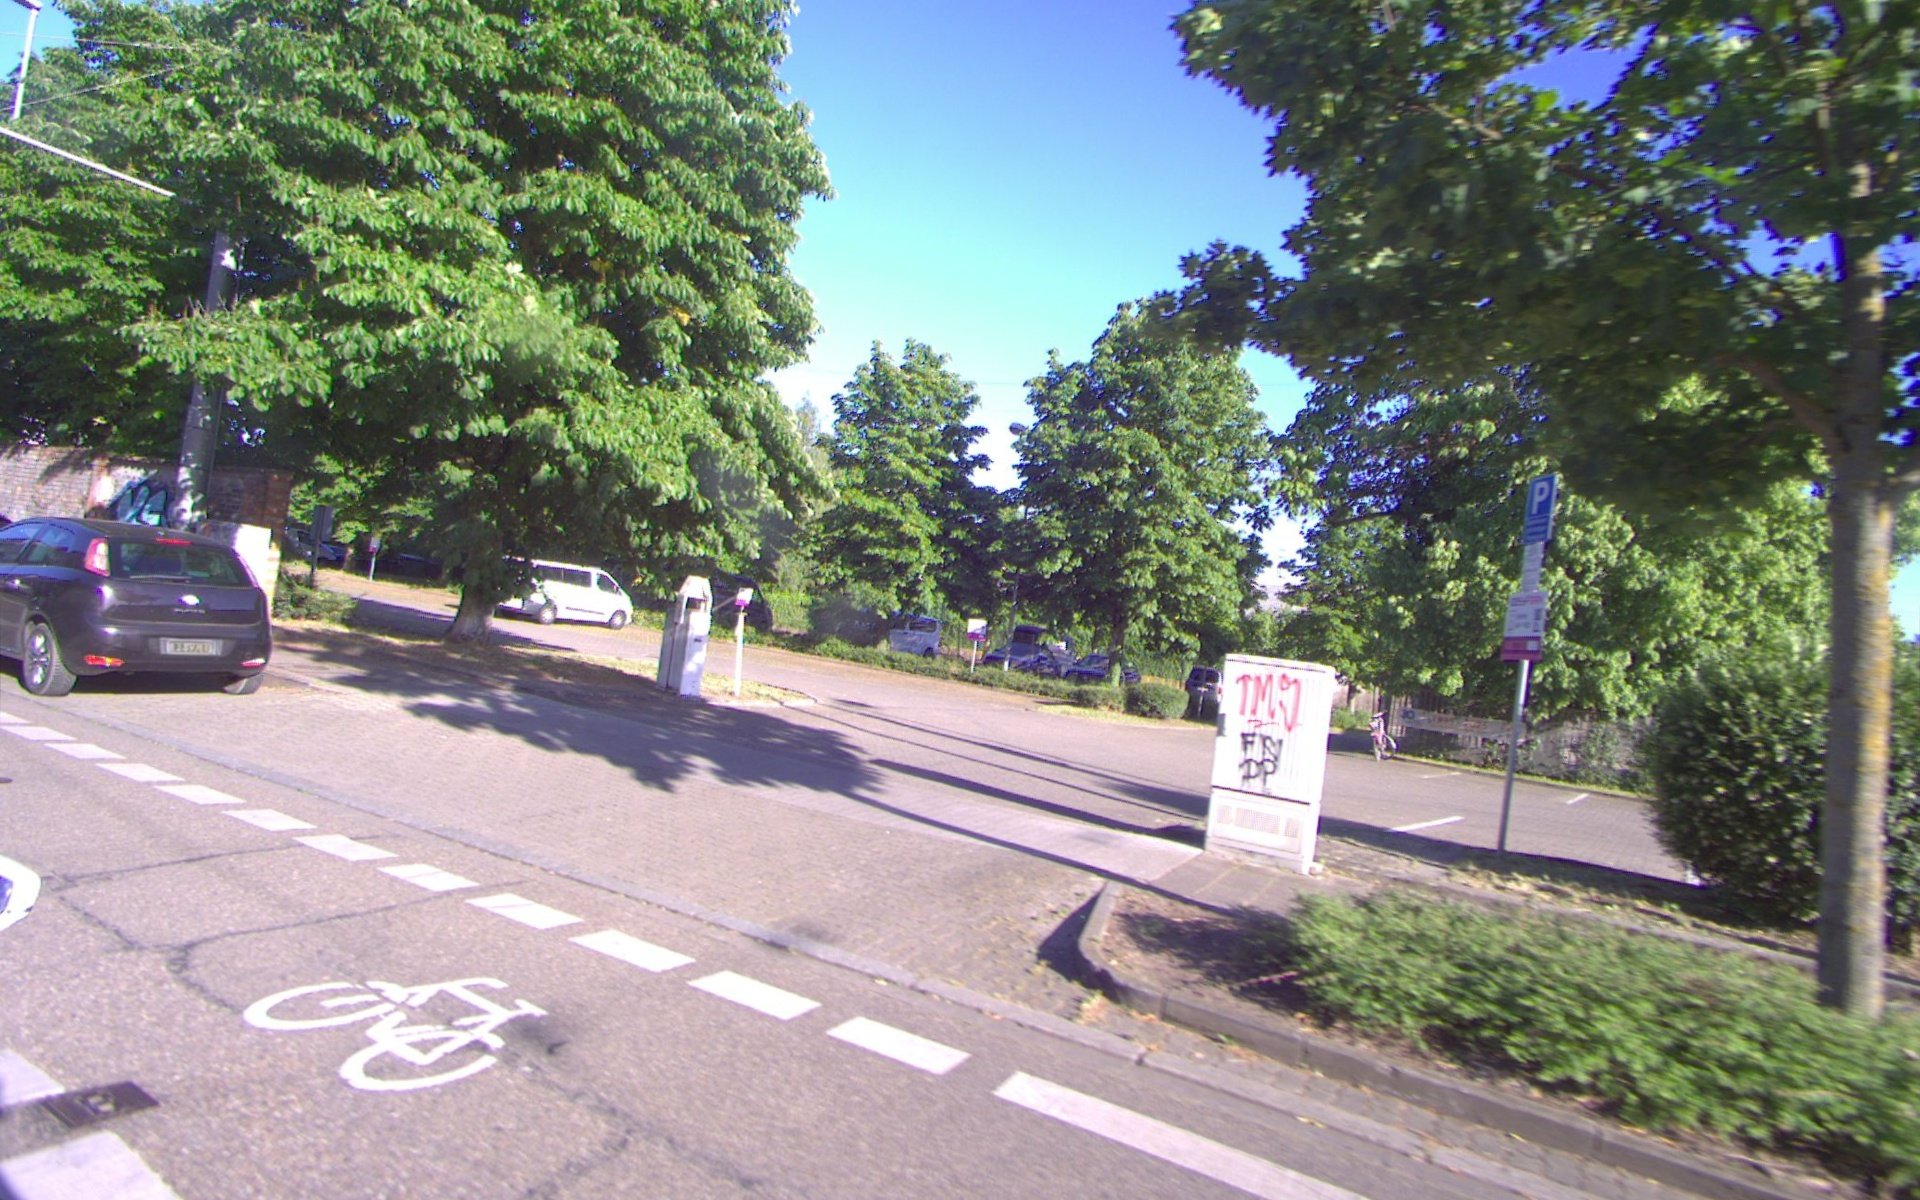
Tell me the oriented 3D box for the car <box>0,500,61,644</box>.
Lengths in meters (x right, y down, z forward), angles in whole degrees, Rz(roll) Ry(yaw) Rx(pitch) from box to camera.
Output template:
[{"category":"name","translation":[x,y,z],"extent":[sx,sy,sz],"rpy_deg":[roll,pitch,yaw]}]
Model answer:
[{"category":"car","translation":[-12.454,-0.554,11.676],"extent":[4.282,1.548,1.692],"rpy_deg":[7,-1,30]}]

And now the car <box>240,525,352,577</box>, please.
[{"category":"car","translation":[-32.785,-2.394,49.776],"extent":[1.966,1.790,4.001],"rpy_deg":[7,-4,29]}]

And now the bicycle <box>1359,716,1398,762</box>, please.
[{"category":"bicycle","translation":[9.940,3.301,23.858],"extent":[0.540,0.951,1.844],"rpy_deg":[7,-4,30]}]

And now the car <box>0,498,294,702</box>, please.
[{"category":"car","translation":[-8.404,-0.090,9.651],"extent":[3.933,1.548,1.692],"rpy_deg":[7,-1,30]}]

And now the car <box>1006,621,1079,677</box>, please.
[{"category":"car","translation":[4.144,2.485,49.847],"extent":[2.034,2.327,4.201],"rpy_deg":[7,-2,25]}]

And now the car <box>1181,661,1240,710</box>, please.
[{"category":"car","translation":[11.629,3.991,46.589],"extent":[1.713,1.943,4.141],"rpy_deg":[7,-2,25]}]

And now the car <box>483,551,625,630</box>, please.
[{"category":"car","translation":[-13.160,-0.261,32.837],"extent":[1.776,1.880,3.922],"rpy_deg":[7,-4,26]}]

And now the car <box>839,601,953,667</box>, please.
[{"category":"car","translation":[-2.343,1.329,38.067],"extent":[1.928,1.835,4.699],"rpy_deg":[7,-4,28]}]

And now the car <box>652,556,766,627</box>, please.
[{"category":"car","translation":[-10.085,-0.292,40.775],"extent":[2.105,2.267,4.201],"rpy_deg":[7,-2,25]}]
